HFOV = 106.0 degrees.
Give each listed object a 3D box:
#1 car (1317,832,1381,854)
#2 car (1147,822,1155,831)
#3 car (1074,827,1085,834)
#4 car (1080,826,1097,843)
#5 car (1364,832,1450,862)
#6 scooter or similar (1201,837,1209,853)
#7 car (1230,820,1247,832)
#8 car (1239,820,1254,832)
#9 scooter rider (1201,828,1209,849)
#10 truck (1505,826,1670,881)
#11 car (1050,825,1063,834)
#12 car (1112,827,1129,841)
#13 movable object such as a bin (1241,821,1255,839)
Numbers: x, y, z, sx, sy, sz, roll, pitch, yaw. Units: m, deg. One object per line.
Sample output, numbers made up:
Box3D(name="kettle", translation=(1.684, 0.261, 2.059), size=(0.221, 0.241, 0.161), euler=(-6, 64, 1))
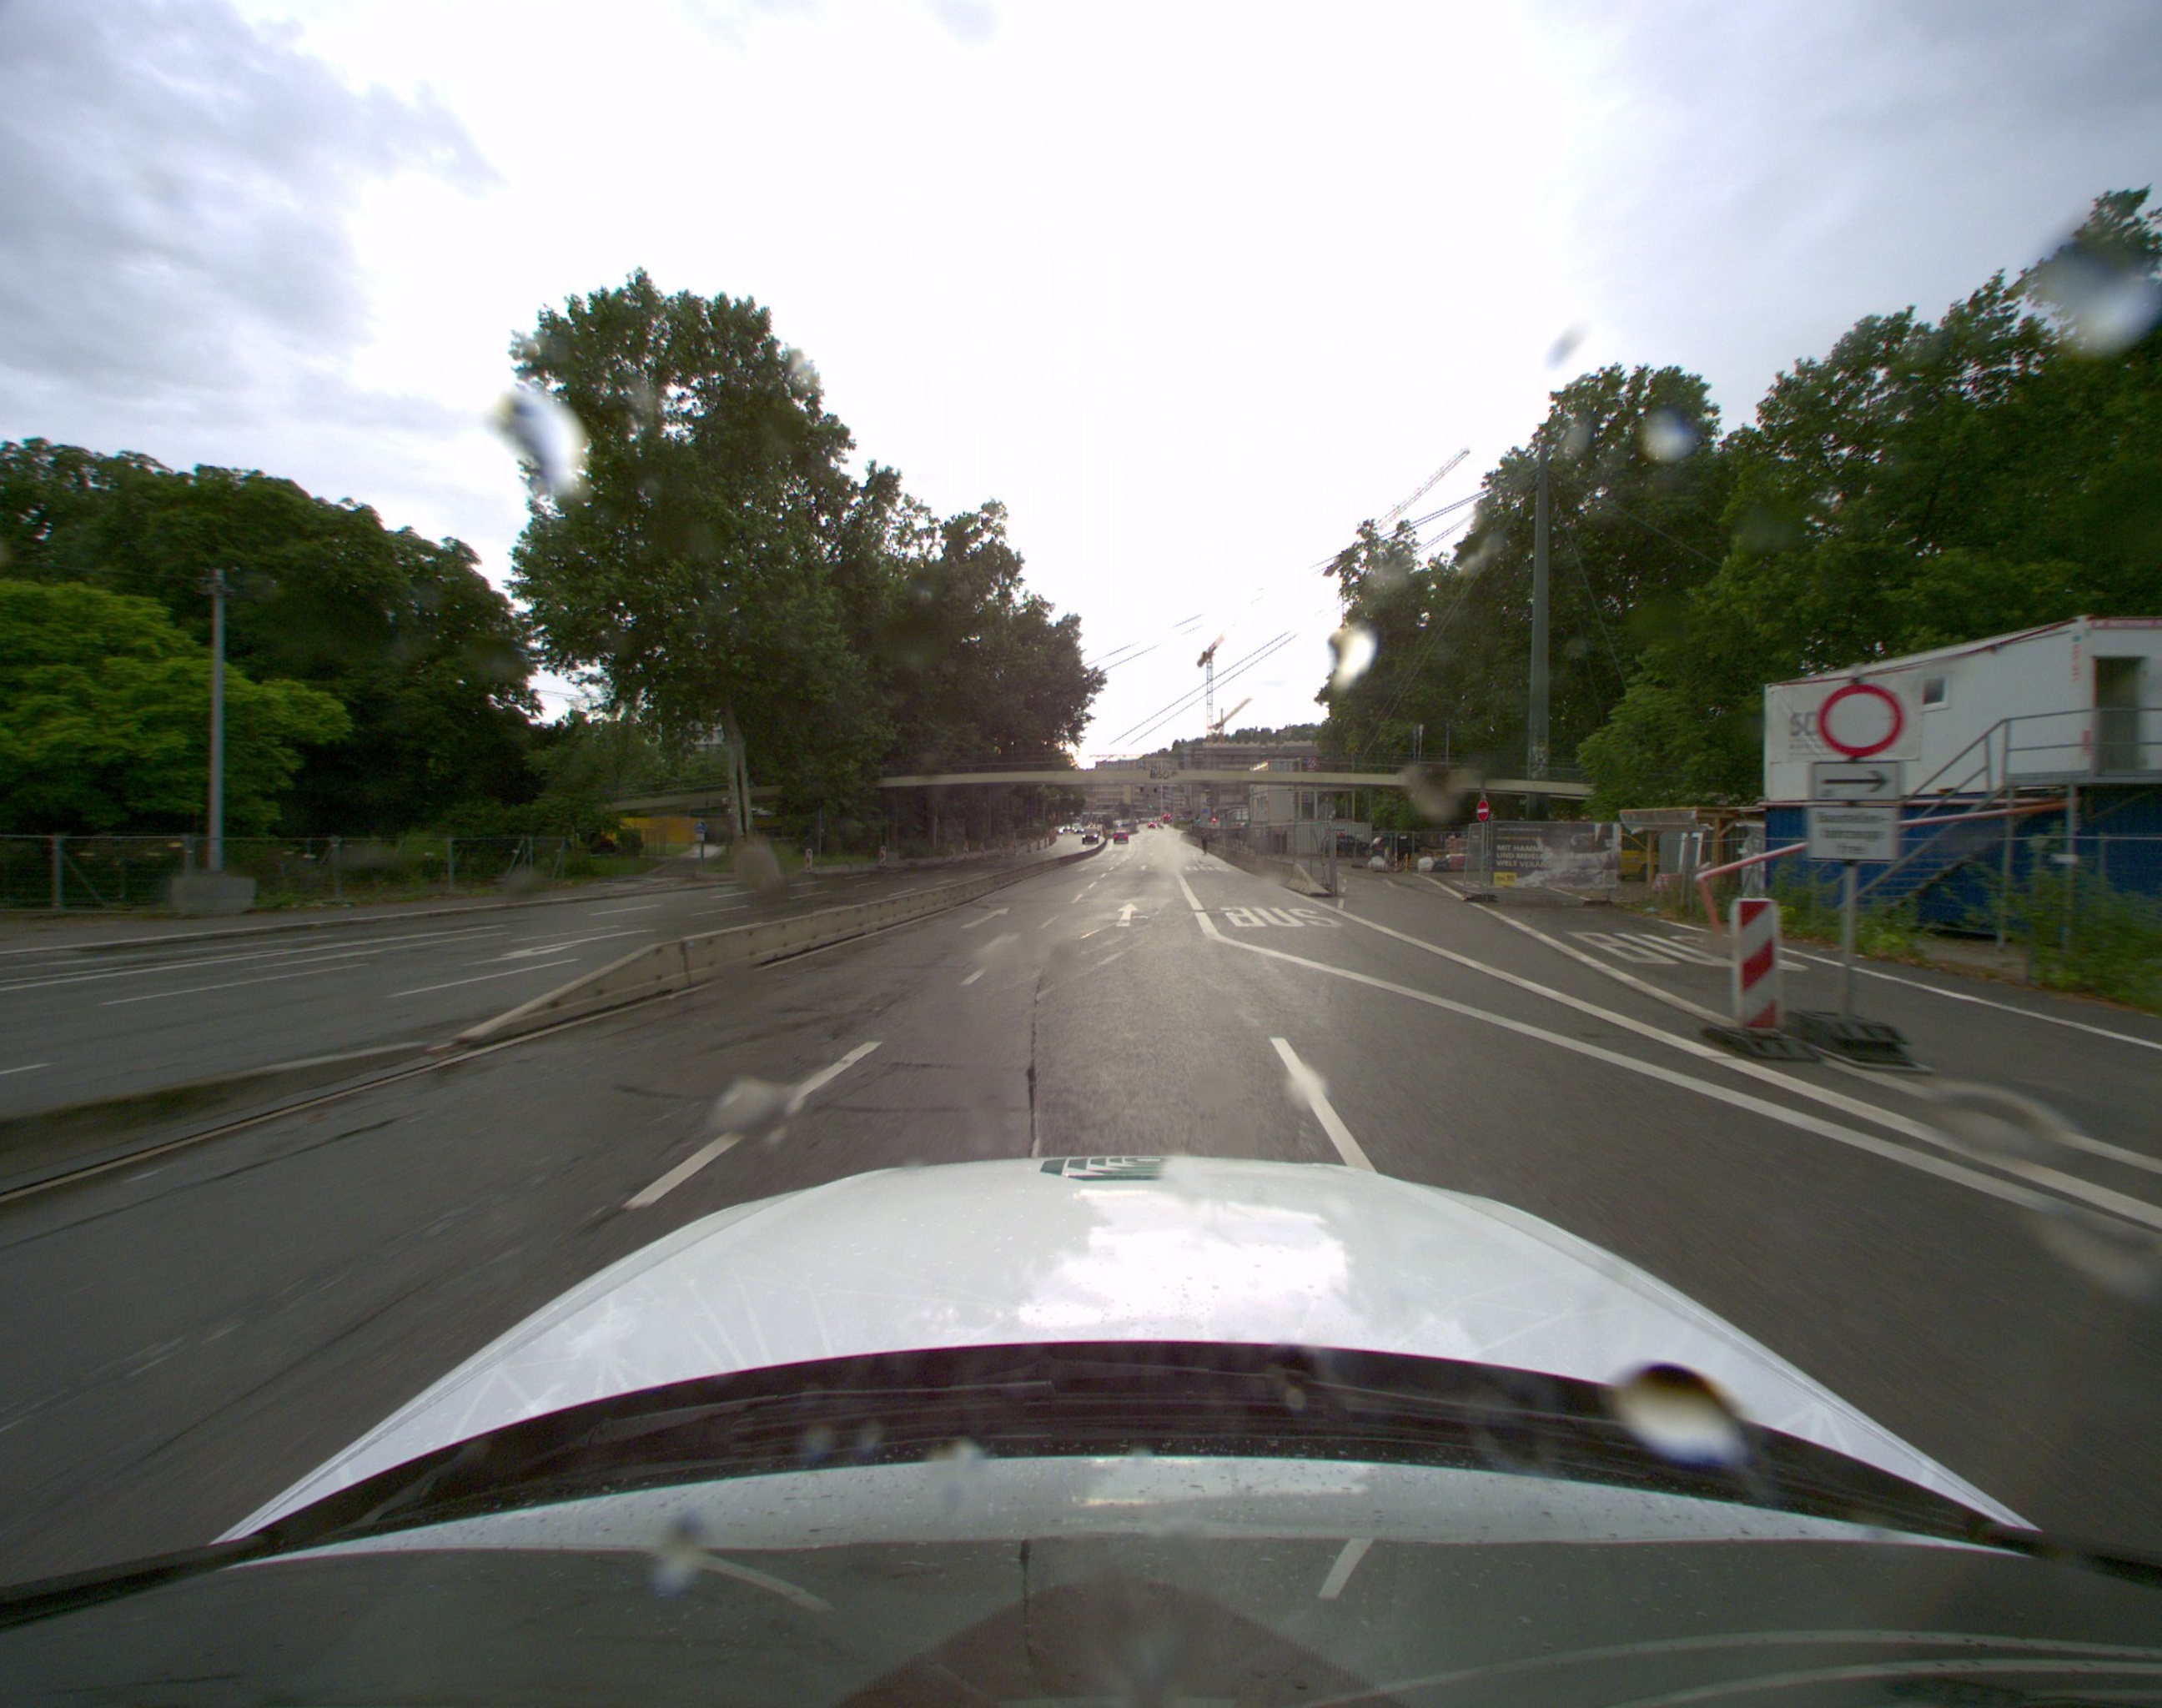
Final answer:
Box3D(name="car", translation=(21.131, -0.848, 64.268), size=(4.525, 1.628, 1.789), euler=(0, 3, 2))
Box3D(name="car", translation=(17.547, -6.821, 204.621), size=(1.984, 2.013, 4.007), euler=(-2, 0, 6))
Box3D(name="car", translation=(-0.305, -4.552, 158.379), size=(1.709, 1.338, 4.057), euler=(-6, 2, -4))
Box3D(name="car", translation=(0.931, -2.395, 102.076), size=(2.024, 1.936, 5.043), euler=(-2, 0, 0))
Box3D(name="car", translation=(19.872, -0.444, 49.800), size=(4.485, 1.728, 2.000), euler=(0, 1, -1))
Box3D(name="scooter or similar", translation=(10.743, -0.818, 70.502), size=(0.594, 1.319, 1.671), euler=(0, 2, 7))
Box3D(name="car", translation=(28.162, -5.052, 145.605), size=(1.906, 1.974, 5.162), euler=(0, 2, -1))
Box3D(name="car", translation=(28.321, -4.842, 139.623), size=(1.838, 1.806, 5.094), euler=(0, 4, 4))
Box3D(name="scooter rider", translation=(10.734, -1.352, 70.455), size=(0.594, 1.785, 0.999), euler=(0, 2, 7))
Box3D(name="truck", translation=(20.034, -0.026, 32.403), size=(5.140, 2.013, 2.407), euler=(-1, 0, -2))
Box3D(name="car", translation=(-4.650, -4.725, 156.368), size=(2.030, 1.653, 4.308), euler=(-2, 3, -8))
Box3D(name="car", translation=(4.823, -2.387, 99.699), size=(1.895, 1.528, 4.179), euler=(-2, 0, 2))
Box3D(name="movable object such as a bin", translation=(22.227, -3.207, 108.499), size=(1.461, 2.202, 1.257), euler=(-1, 4, -20))
